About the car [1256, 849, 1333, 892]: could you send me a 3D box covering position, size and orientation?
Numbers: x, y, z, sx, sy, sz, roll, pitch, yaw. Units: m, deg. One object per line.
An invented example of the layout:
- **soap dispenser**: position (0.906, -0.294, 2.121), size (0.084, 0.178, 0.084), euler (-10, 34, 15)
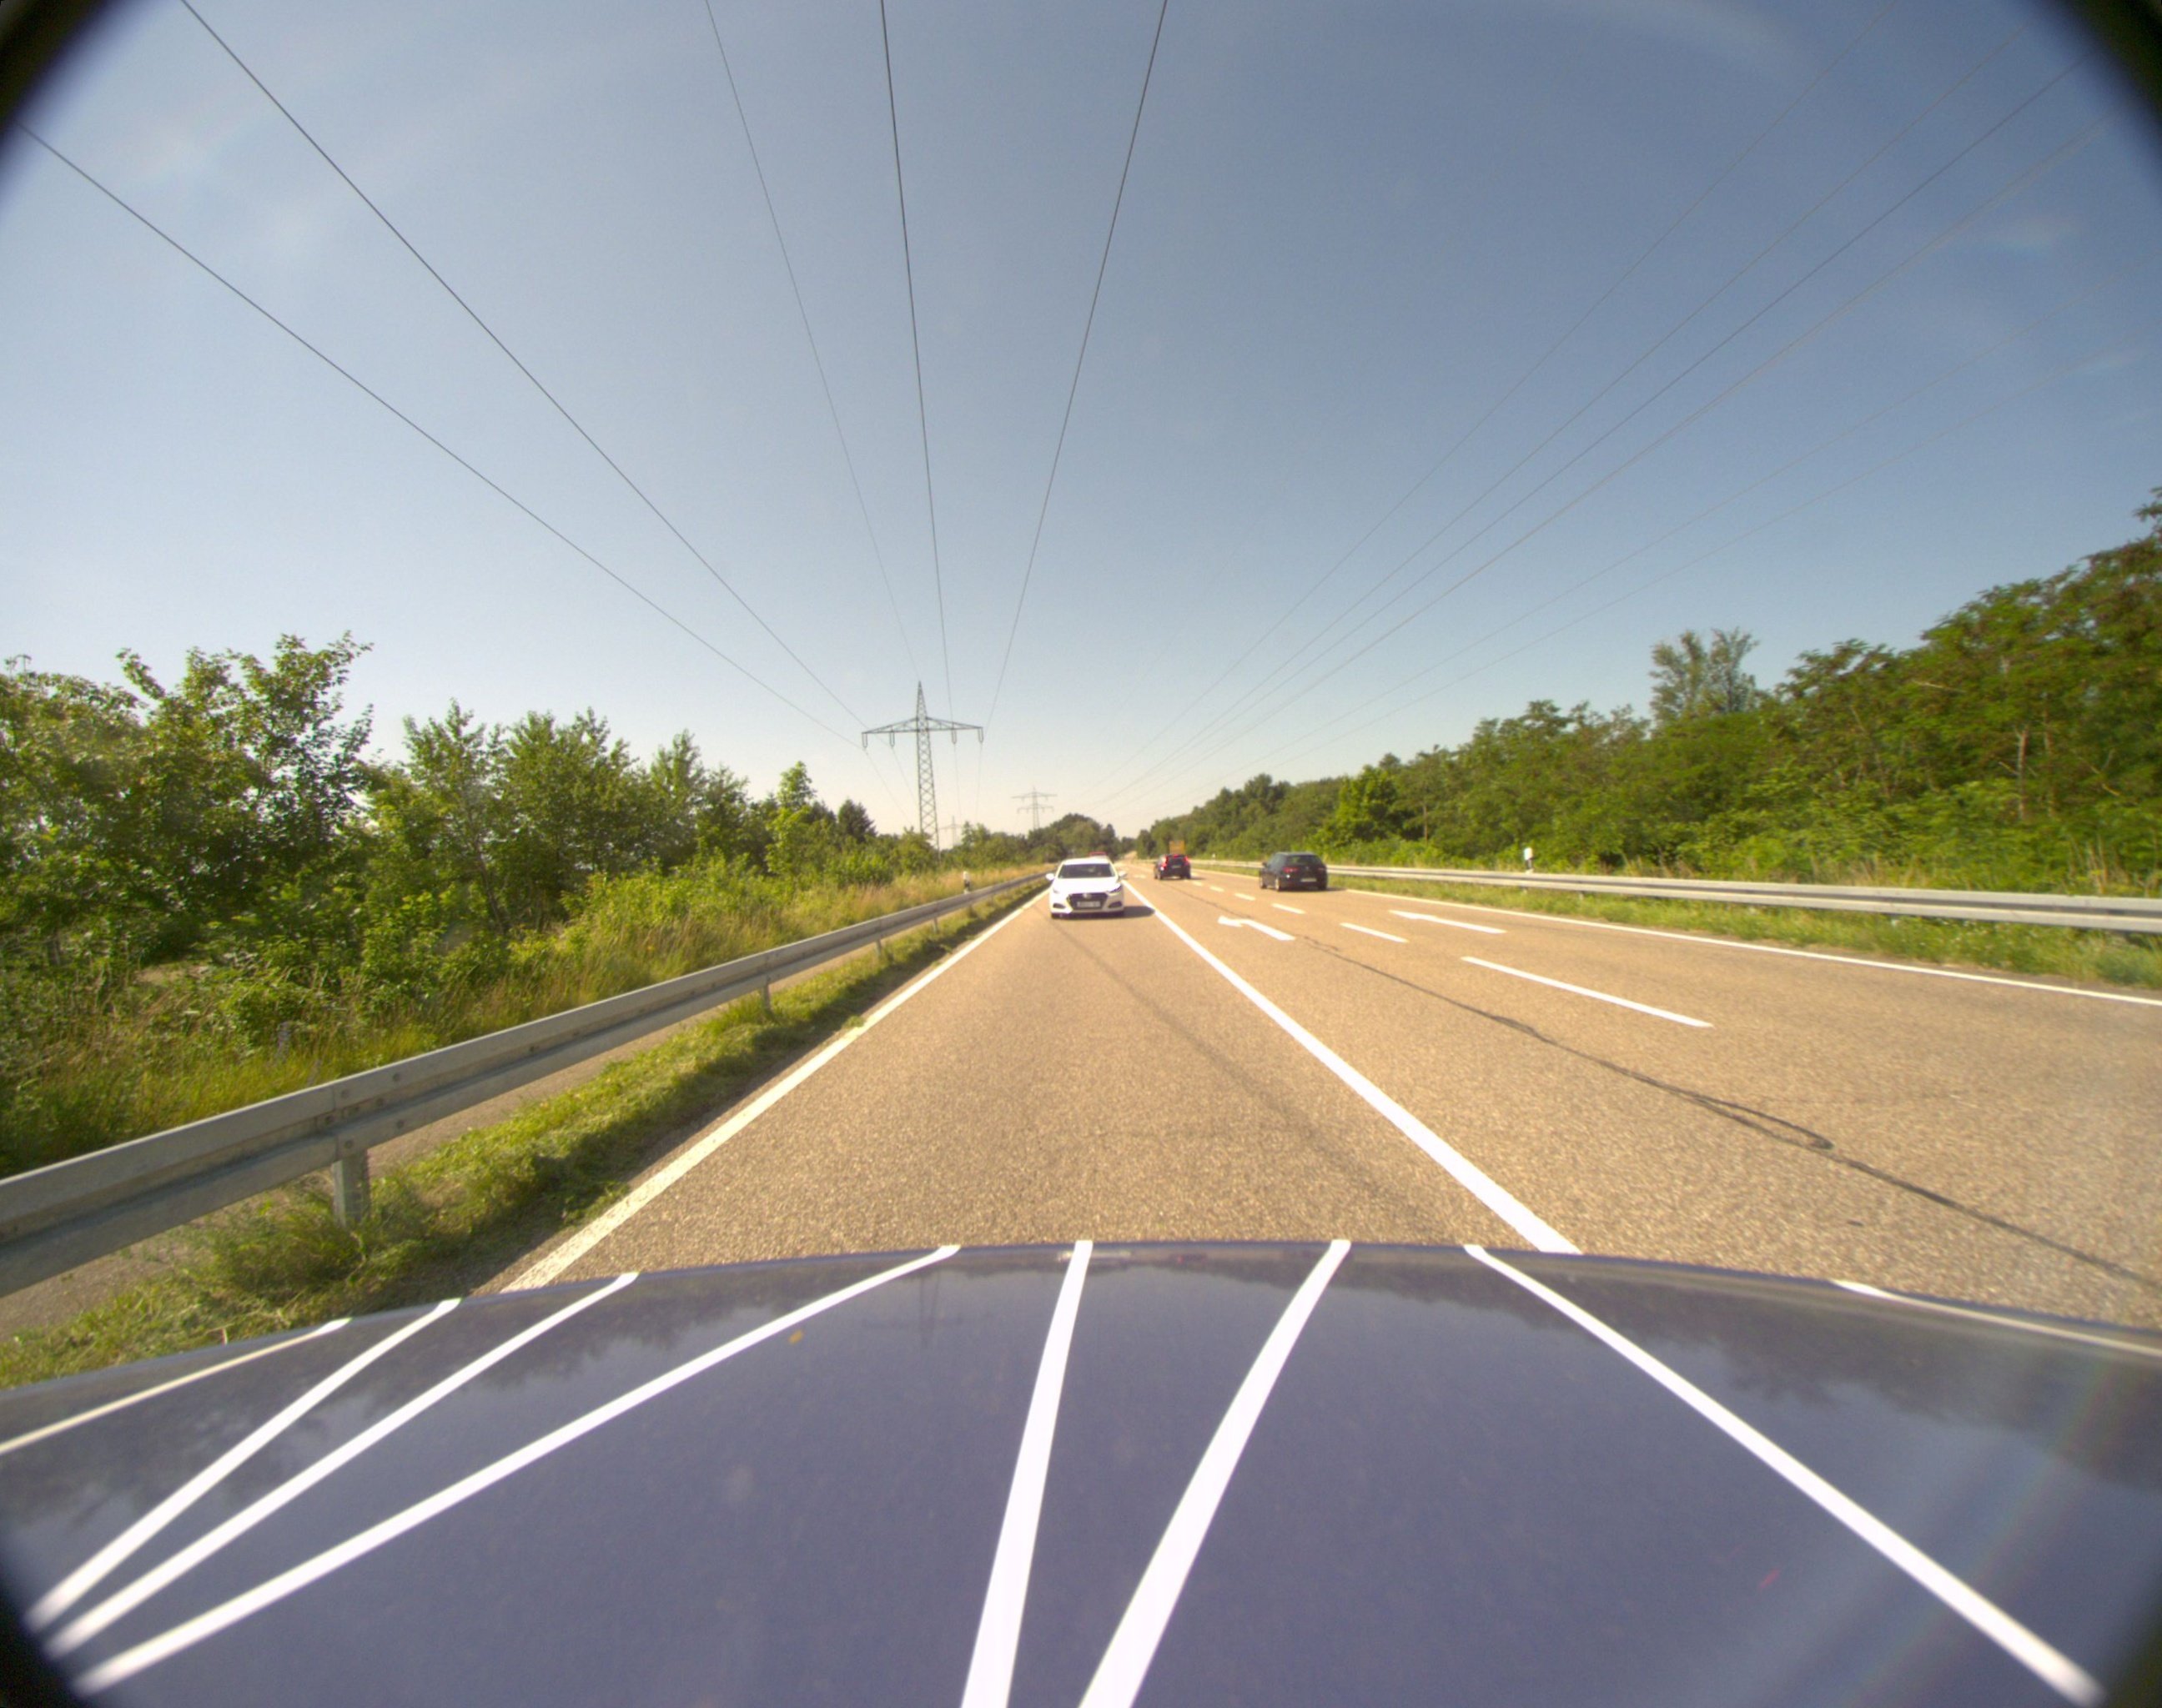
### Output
- **car**: position (7.807, 0.556, 28.122), size (1.664, 1.433, 4.214), euler (-2, 0, 1)

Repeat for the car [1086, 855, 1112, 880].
- **car**: position (1.115, 0.829, 48.226), size (1.549, 1.460, 3.661), euler (-2, 0, 0)

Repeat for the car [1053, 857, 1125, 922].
- **car**: position (0.210, 0.866, 20.320), size (1.683, 1.472, 4.473), euler (-1, 0, 1)

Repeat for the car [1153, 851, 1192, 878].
- **car**: position (5.355, 0.593, 44.984), size (1.732, 1.482, 4.422), euler (-2, 0, 0)

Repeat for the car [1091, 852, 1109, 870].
- **car**: position (2.104, 0.739, 83.996), size (1.794, 1.893, 4.837), euler (-3, 0, 0)
